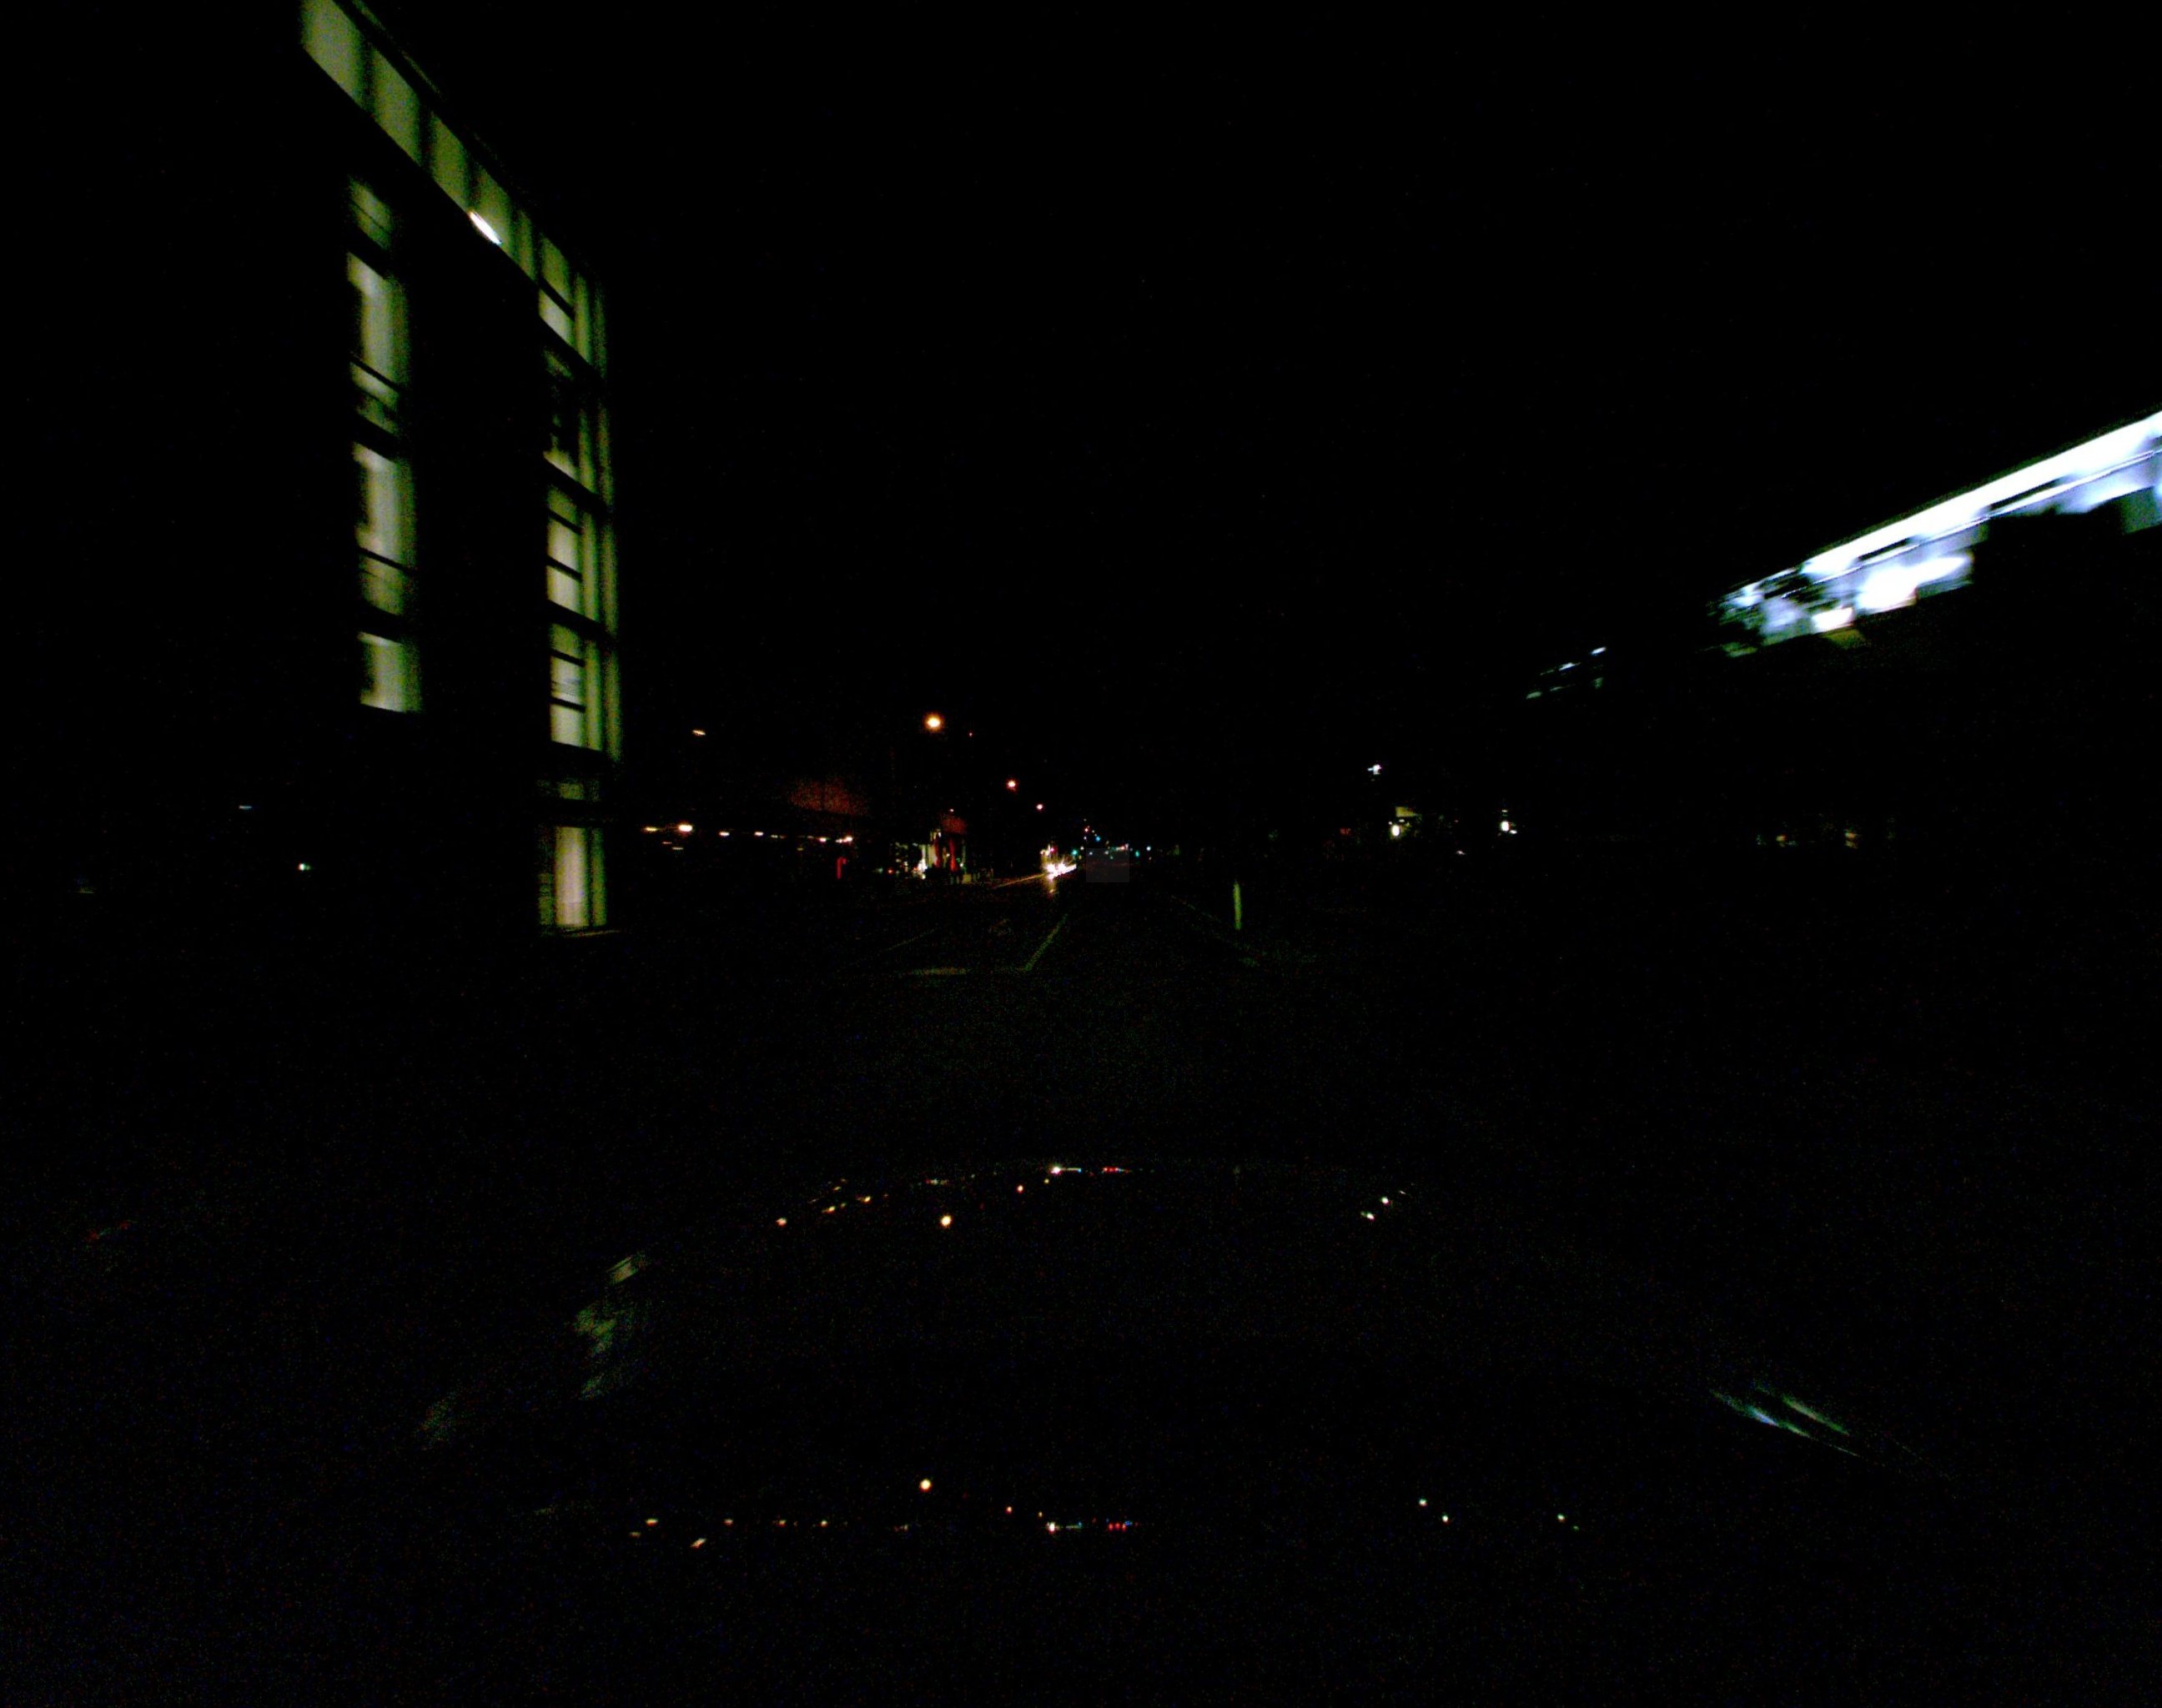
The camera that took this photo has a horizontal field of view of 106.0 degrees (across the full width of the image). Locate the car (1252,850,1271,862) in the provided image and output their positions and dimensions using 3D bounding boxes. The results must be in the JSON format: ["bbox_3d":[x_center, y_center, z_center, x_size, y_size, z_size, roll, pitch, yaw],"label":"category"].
[{"bbox_3d":[23.775,0.285,107.263,1.774,1.533,4.005,-2,0,4],"label":"car"}]

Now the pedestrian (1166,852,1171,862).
[{"bbox_3d":[15.375,0.497,143.886,0.711,1.769,0.907,-3,0,1],"label":"pedestrian"}]

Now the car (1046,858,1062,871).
[{"bbox_3d":[-3.291,1.326,100.818,1.661,1.428,4.000,-4,0,0],"label":"car"}]

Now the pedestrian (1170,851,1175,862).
[{"bbox_3d":[16.184,0.447,143.969,0.736,1.769,0.907,-3,0,1],"label":"pedestrian"}]

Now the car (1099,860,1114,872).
[{"bbox_3d":[3.233,1.457,103.608,1.798,1.494,4.732,0,0,2],"label":"car"}]

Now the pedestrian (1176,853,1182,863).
[{"bbox_3d":[17.331,0.673,143.988,0.898,1.769,0.907,-2,-1,0],"label":"pedestrian"}]

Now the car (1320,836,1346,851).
[{"bbox_3d":[29.373,-1.208,94.948,1.762,1.533,4.100,-3,0,1],"label":"car"}]
